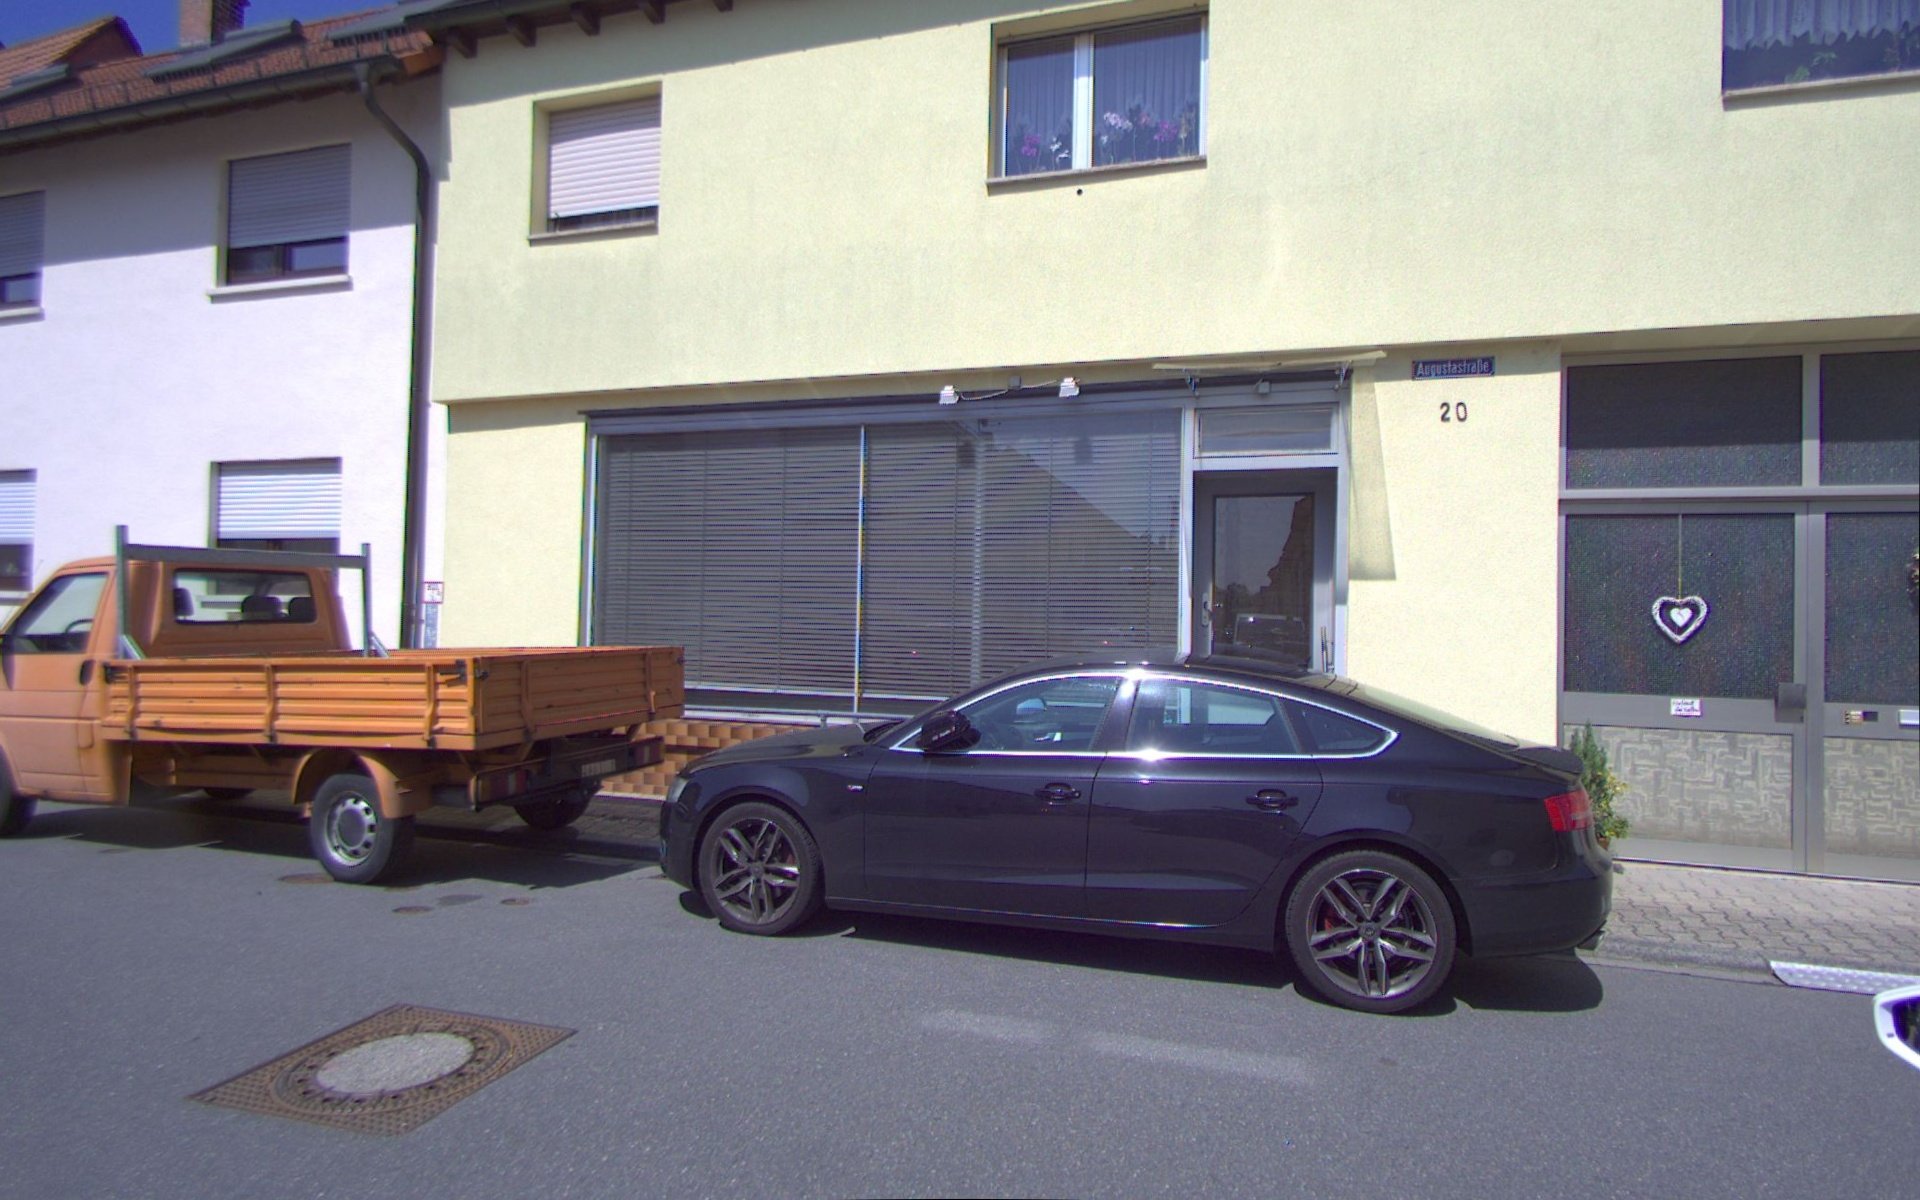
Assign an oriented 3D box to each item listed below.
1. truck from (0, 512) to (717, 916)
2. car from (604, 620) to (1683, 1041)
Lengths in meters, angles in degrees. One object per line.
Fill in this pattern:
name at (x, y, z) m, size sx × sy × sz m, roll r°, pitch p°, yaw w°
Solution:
truck at (-4.467, 0.577, 6.898) m, size 4.979 × 2.040 × 2.190 m, roll 1°, pitch -2°, yaw 18°
car at (0.727, 0.931, 5.242) m, size 4.538 × 1.412 × 1.930 m, roll 1°, pitch -5°, yaw 17°
